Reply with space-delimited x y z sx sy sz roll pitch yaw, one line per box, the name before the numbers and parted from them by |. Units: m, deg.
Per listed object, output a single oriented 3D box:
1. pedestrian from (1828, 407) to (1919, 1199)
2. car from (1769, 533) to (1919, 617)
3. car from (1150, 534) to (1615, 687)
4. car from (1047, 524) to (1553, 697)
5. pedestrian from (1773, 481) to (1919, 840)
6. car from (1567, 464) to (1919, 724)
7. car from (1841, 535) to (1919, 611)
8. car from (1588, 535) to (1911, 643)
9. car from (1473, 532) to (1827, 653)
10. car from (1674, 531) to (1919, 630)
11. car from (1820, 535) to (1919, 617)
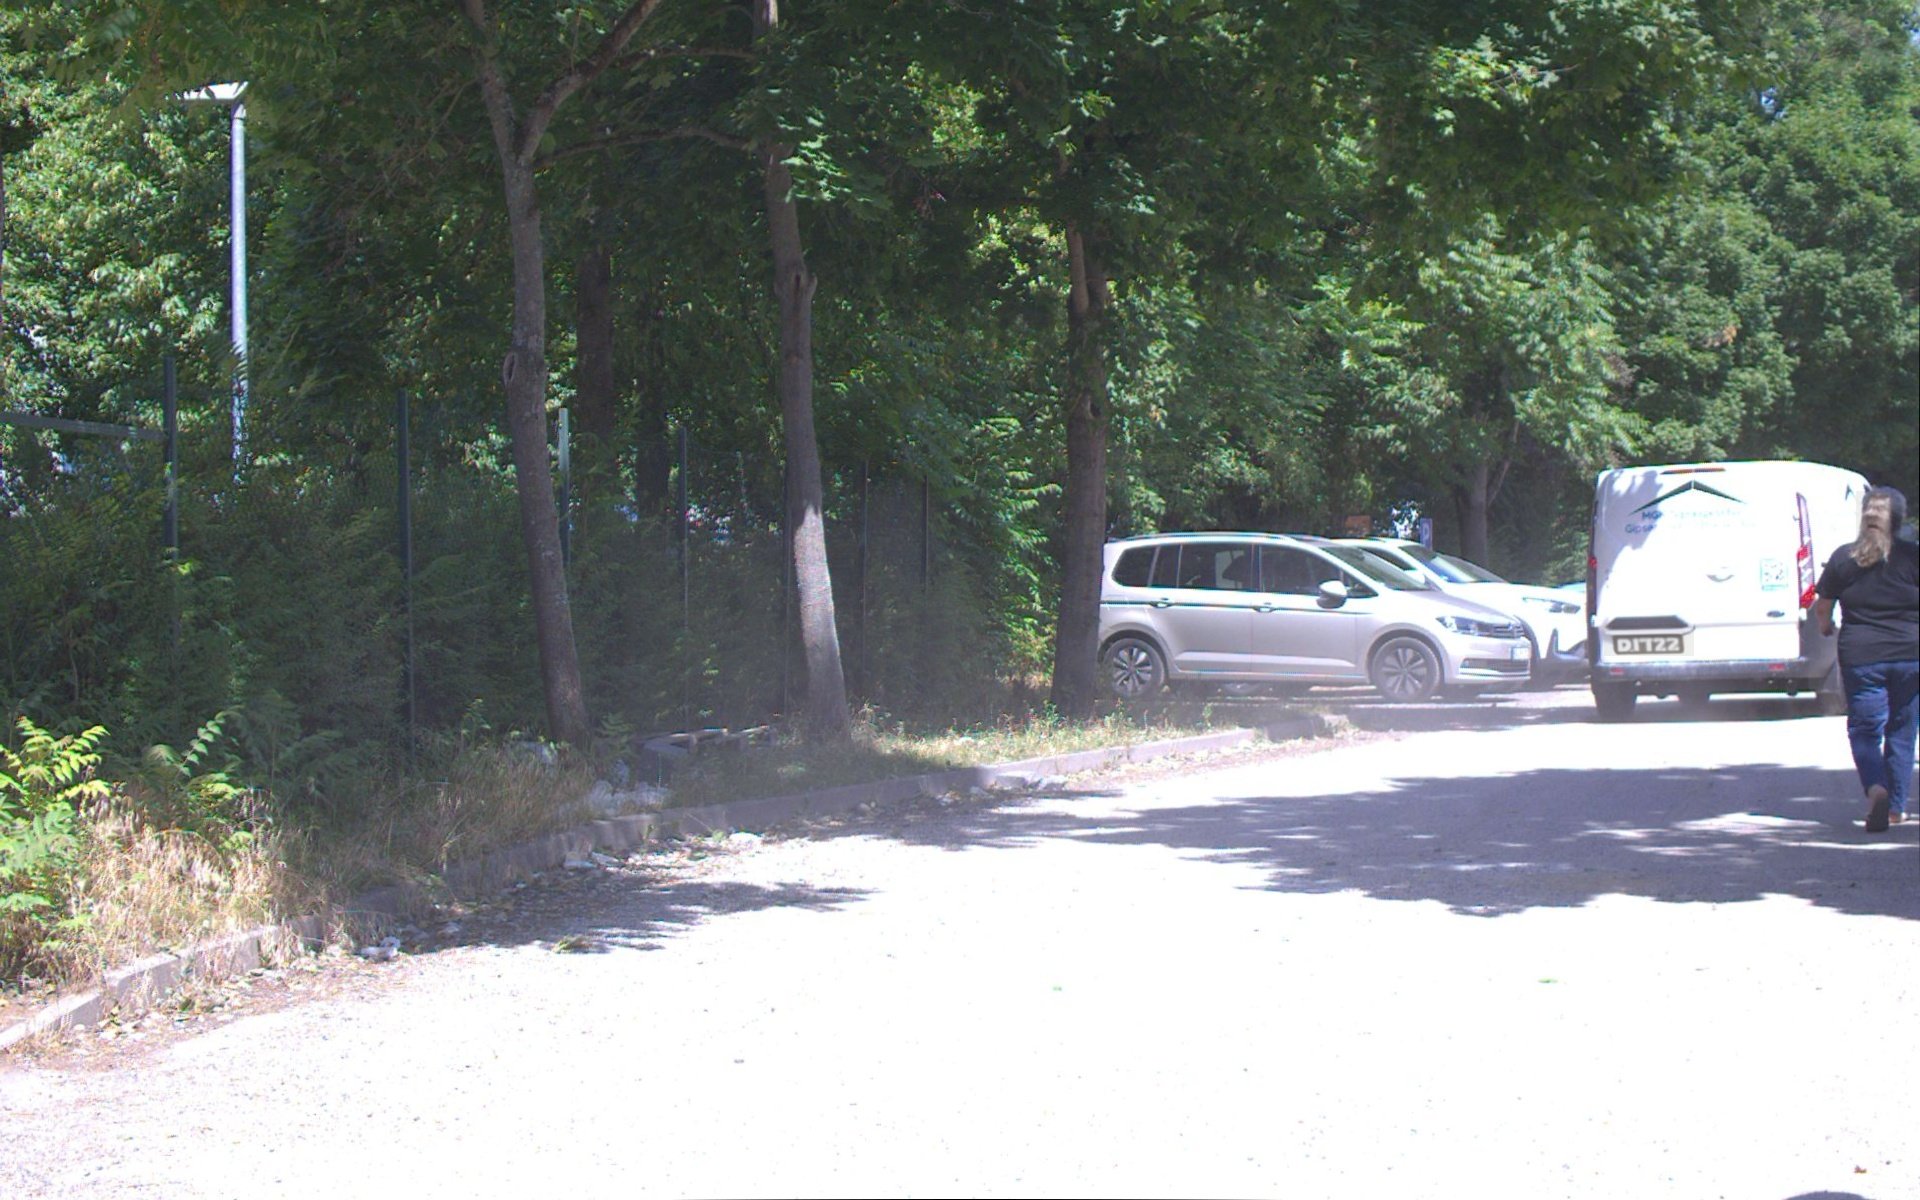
pedestrian | 2.166 0.507 6.460 0.874 1.723 1.080 -1 1 6
car | 18.084 -0.490 66.428 4.511 1.592 1.723 0 1 24
car | 4.407 0.096 35.934 4.511 1.526 1.723 0 1 24
car | 3.325 0.120 33.646 4.511 1.604 1.997 0 -1 25
pedestrian | 4.397 0.263 16.285 1.036 1.644 1.048 0 1 13
car | 6.550 -0.082 28.150 1.975 1.940 4.575 0 1 25
car | 20.626 -0.565 70.952 4.511 1.542 1.723 0 1 24
car | 12.082 -0.170 52.621 4.511 1.592 1.934 0 1 25
car | 9.515 -0.107 47.432 4.511 1.592 1.723 0 1 24
car | 14.321 -0.325 57.198 4.511 1.592 1.723 0 1 24
car | 19.645 -0.491 68.703 4.511 1.592 1.723 0 1 24
